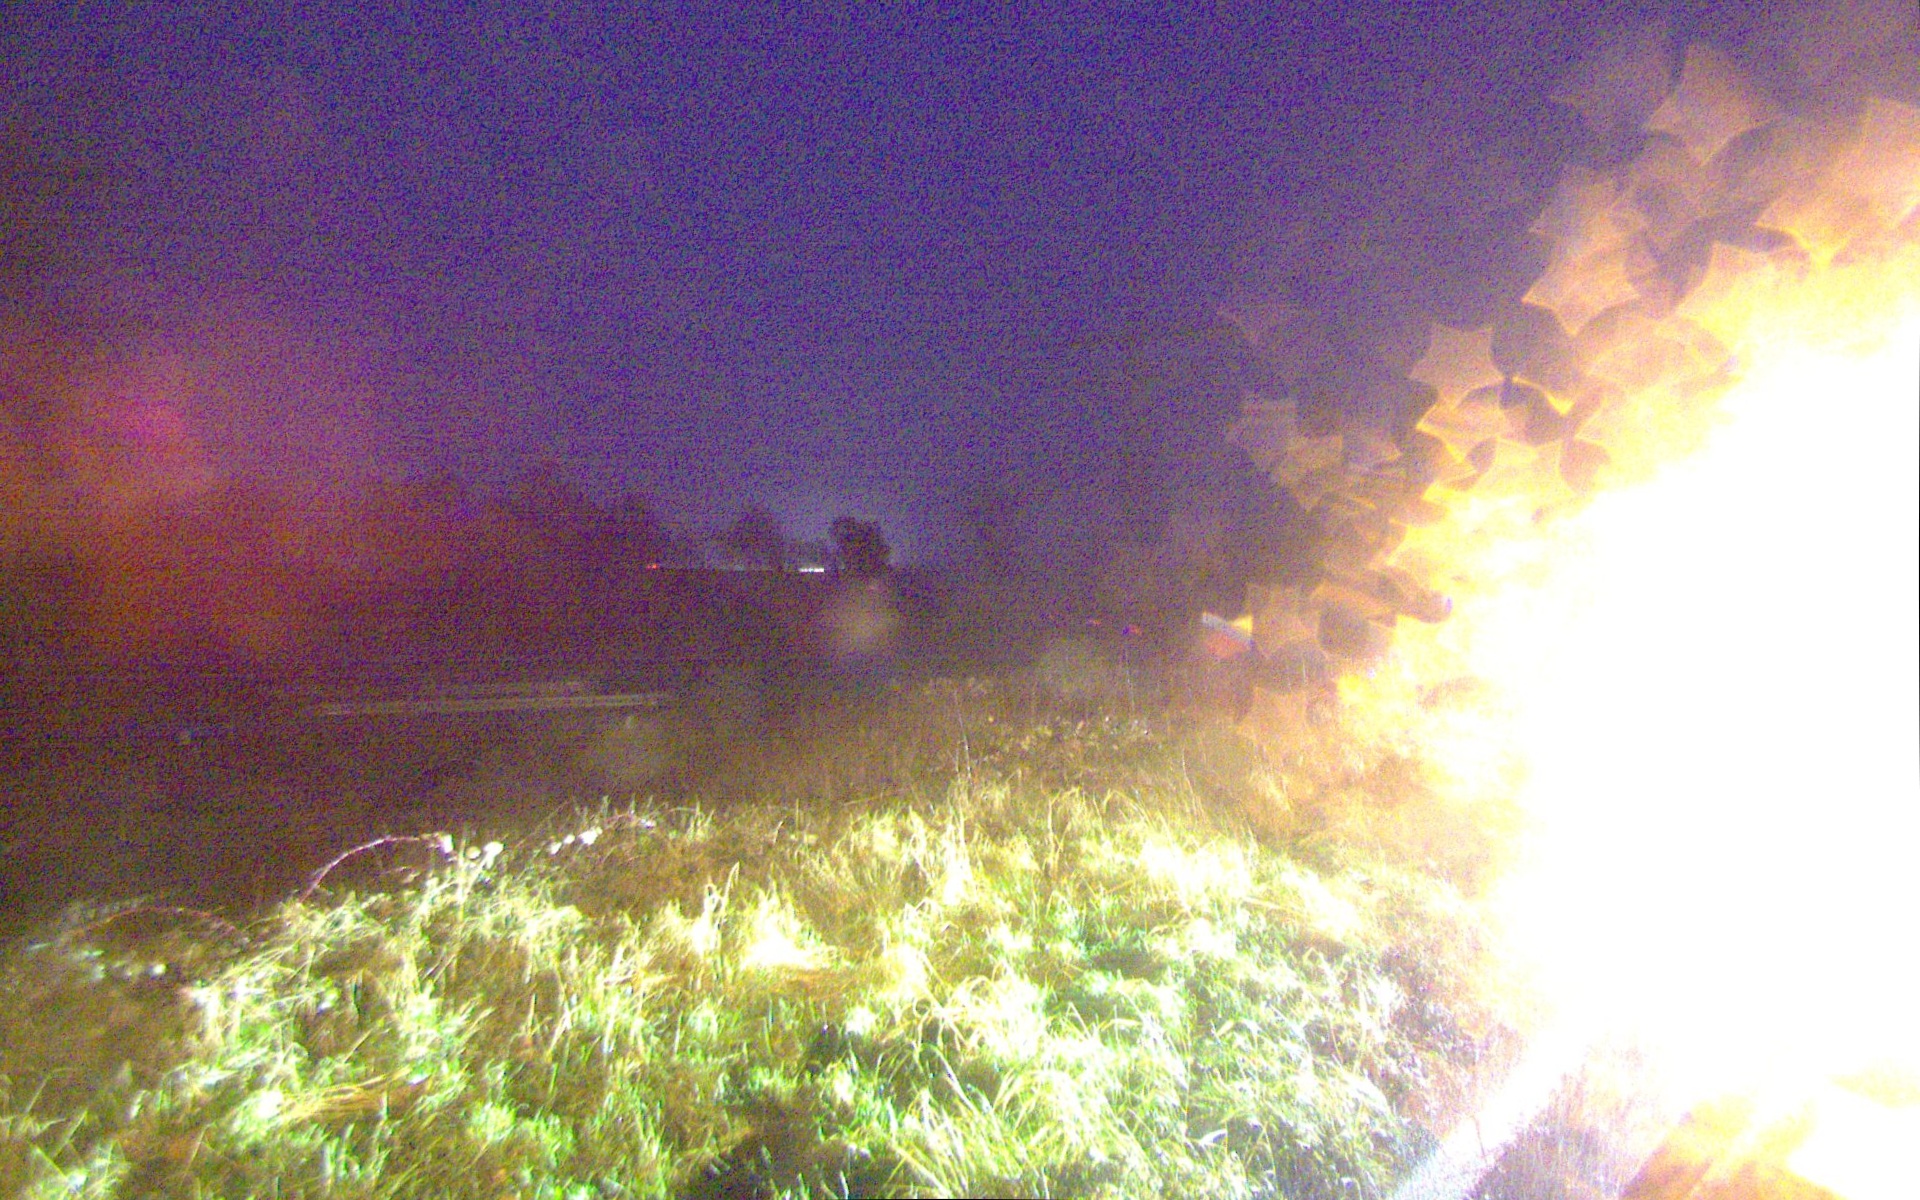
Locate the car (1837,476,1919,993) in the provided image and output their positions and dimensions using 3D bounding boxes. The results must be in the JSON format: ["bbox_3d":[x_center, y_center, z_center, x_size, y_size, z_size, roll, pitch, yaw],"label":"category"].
[{"bbox_3d":[5.688,0.489,4.729,4.296,1.949,2.000,-1,1,-43],"label":"car"}]
